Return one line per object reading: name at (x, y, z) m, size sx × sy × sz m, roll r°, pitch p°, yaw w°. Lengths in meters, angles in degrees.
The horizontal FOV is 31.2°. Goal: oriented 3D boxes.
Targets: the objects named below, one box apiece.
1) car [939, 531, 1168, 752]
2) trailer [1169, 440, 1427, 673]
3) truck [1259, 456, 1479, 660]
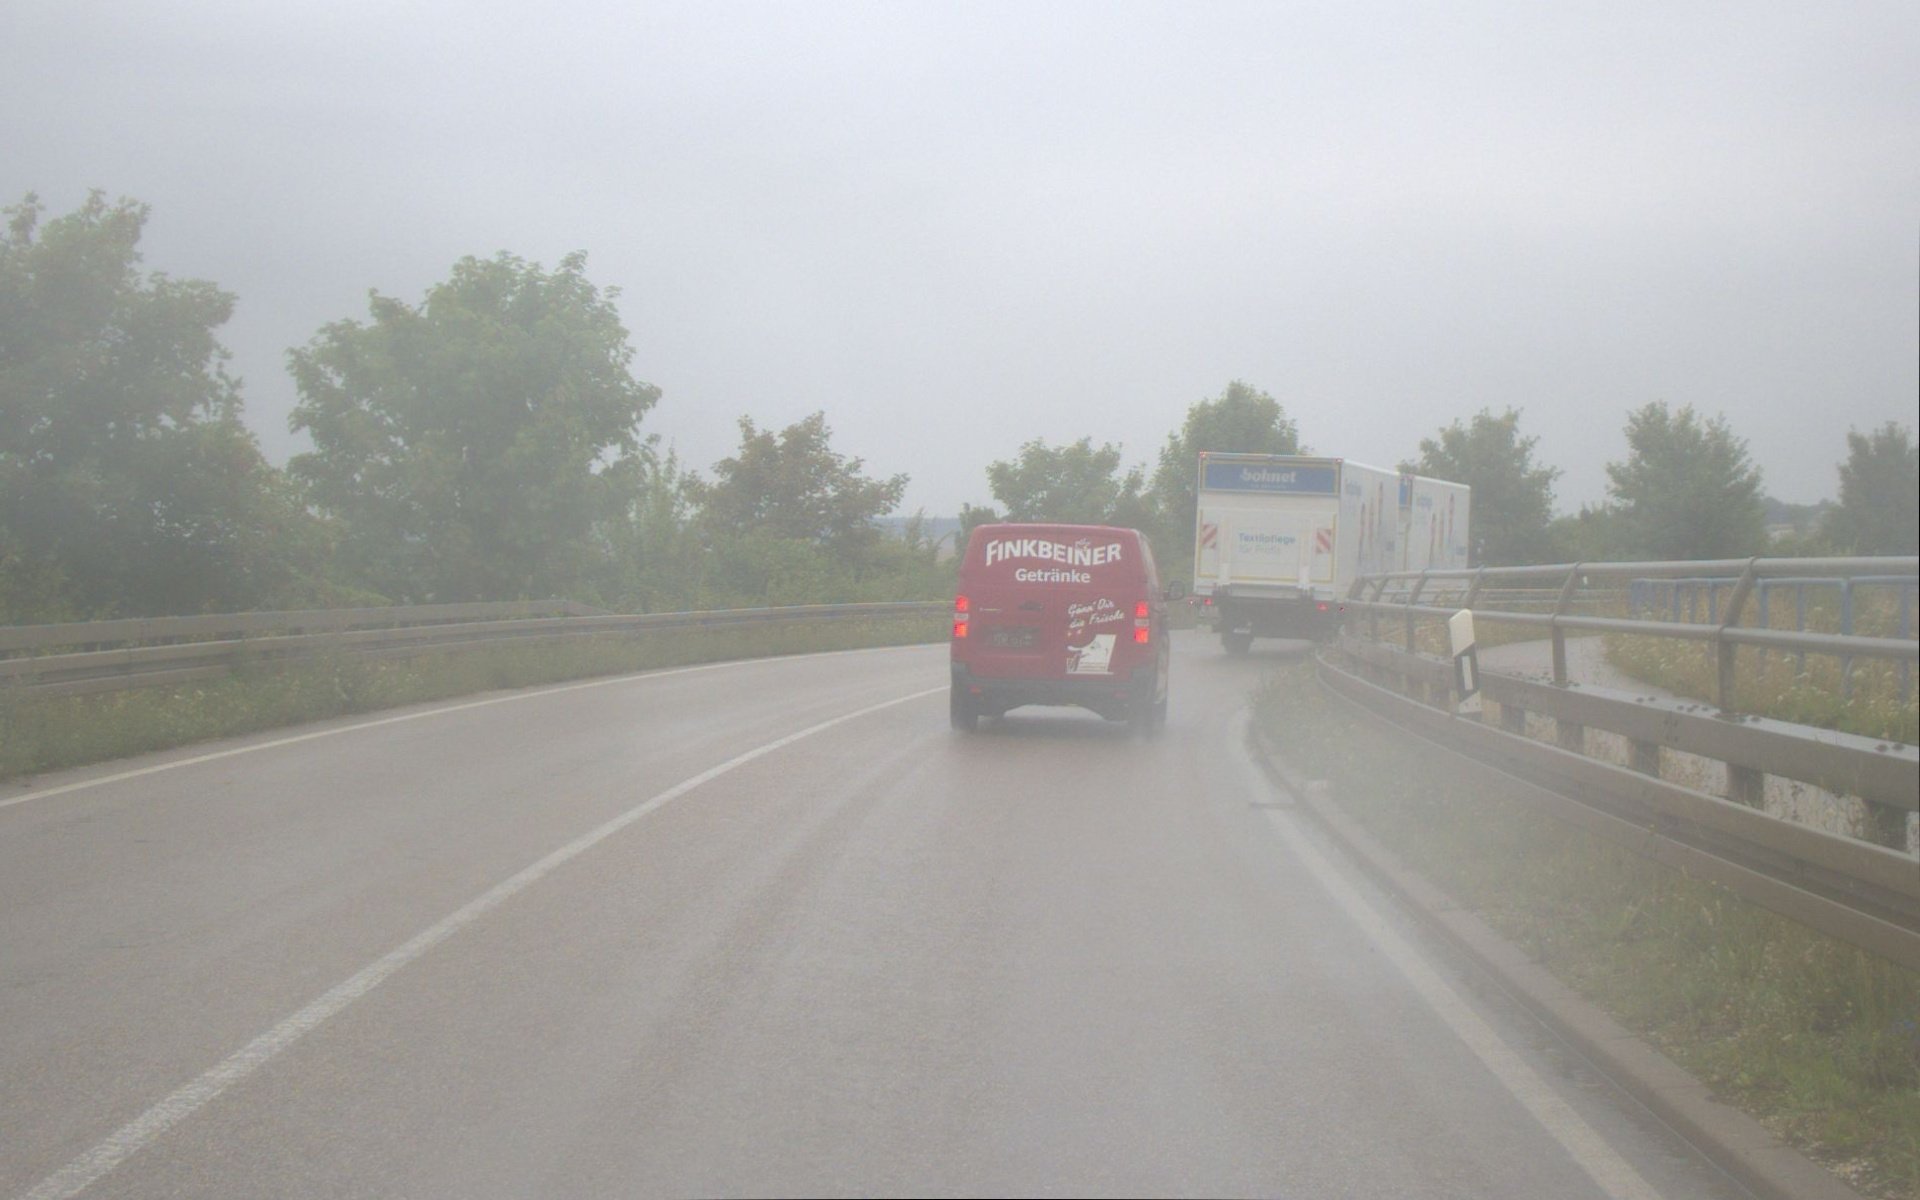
car at (0.919, 0.337, 32.361) m, size 1.994 × 1.919 × 4.143 m, roll 1°, pitch 1°, yaw 3°
trailer at (6.410, -0.762, 63.727) m, size 3.204 × 3.908 × 8.733 m, roll 3°, pitch 1°, yaw 15°
truck at (8.709, -0.836, 72.158) m, size 3.204 × 3.908 × 8.733 m, roll 3°, pitch 1°, yaw 15°
